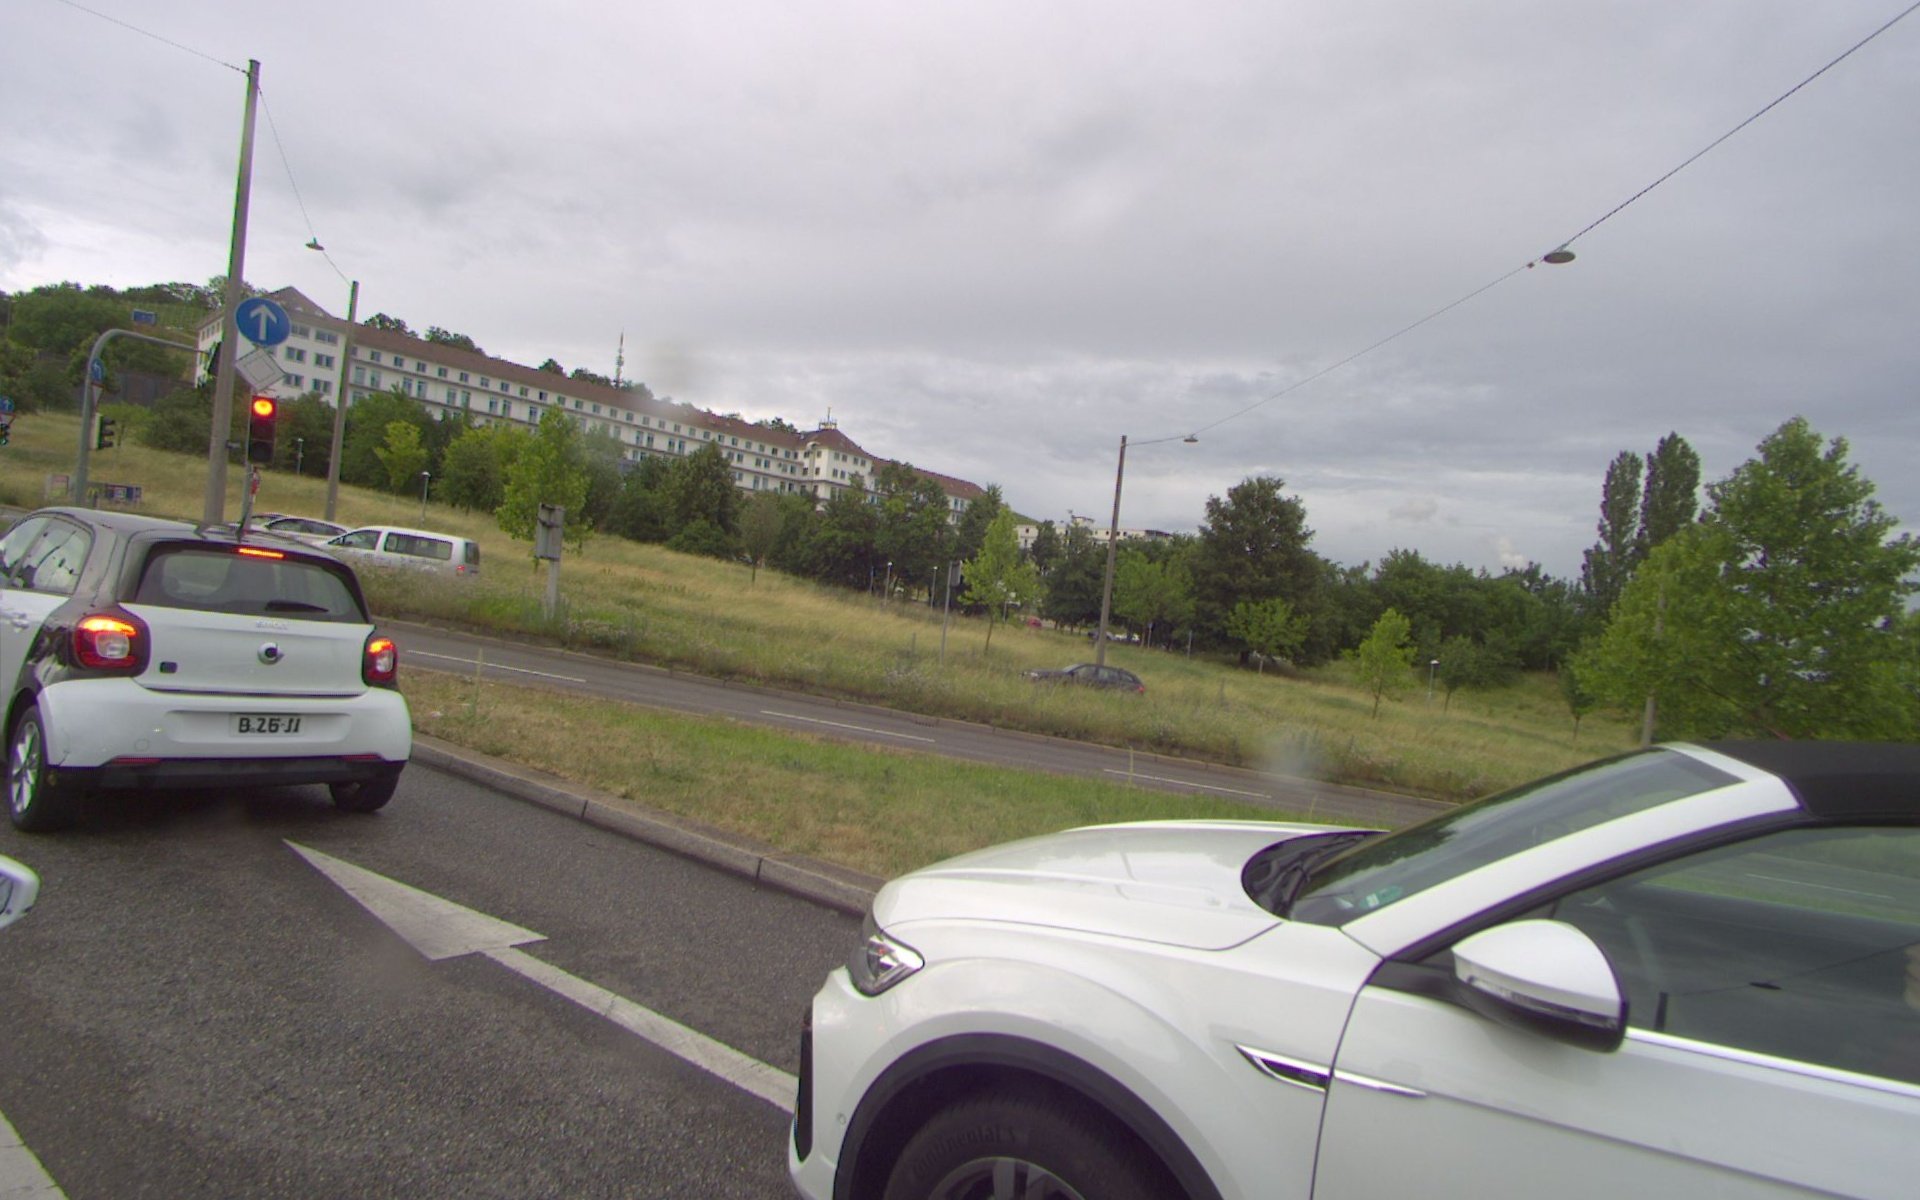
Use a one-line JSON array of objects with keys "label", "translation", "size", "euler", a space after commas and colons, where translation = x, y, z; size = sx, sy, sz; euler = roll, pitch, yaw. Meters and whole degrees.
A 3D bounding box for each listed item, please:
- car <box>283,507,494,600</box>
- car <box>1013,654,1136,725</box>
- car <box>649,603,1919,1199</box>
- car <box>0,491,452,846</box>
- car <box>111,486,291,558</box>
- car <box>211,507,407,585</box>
[{"label": "car", "translation": [-15.935, -1.243, 28.285], "size": [4.620, 1.871, 1.819], "euler": [8, -2, -10]}, {"label": "car", "translation": [4.152, 3.243, 36.820], "size": [3.932, 2.037, 1.998], "euler": [7, -2, -9]}, {"label": "car", "translation": [1.620, 1.057, 1.871], "size": [4.156, 1.571, 1.718], "euler": [6, -2, 28]}, {"label": "car", "translation": [-4.798, 0.257, 6.003], "size": [3.398, 1.520, 1.659], "euler": [6, -2, 36]}, {"label": "car", "translation": [-25.689, -2.594, 34.189], "size": [4.342, 1.655, 2.000], "euler": [7, -2, -5]}, {"label": "car", "translation": [-19.735, -1.601, 30.713], "size": [4.449, 1.639, 1.998], "euler": [8, -2, -10]}]
